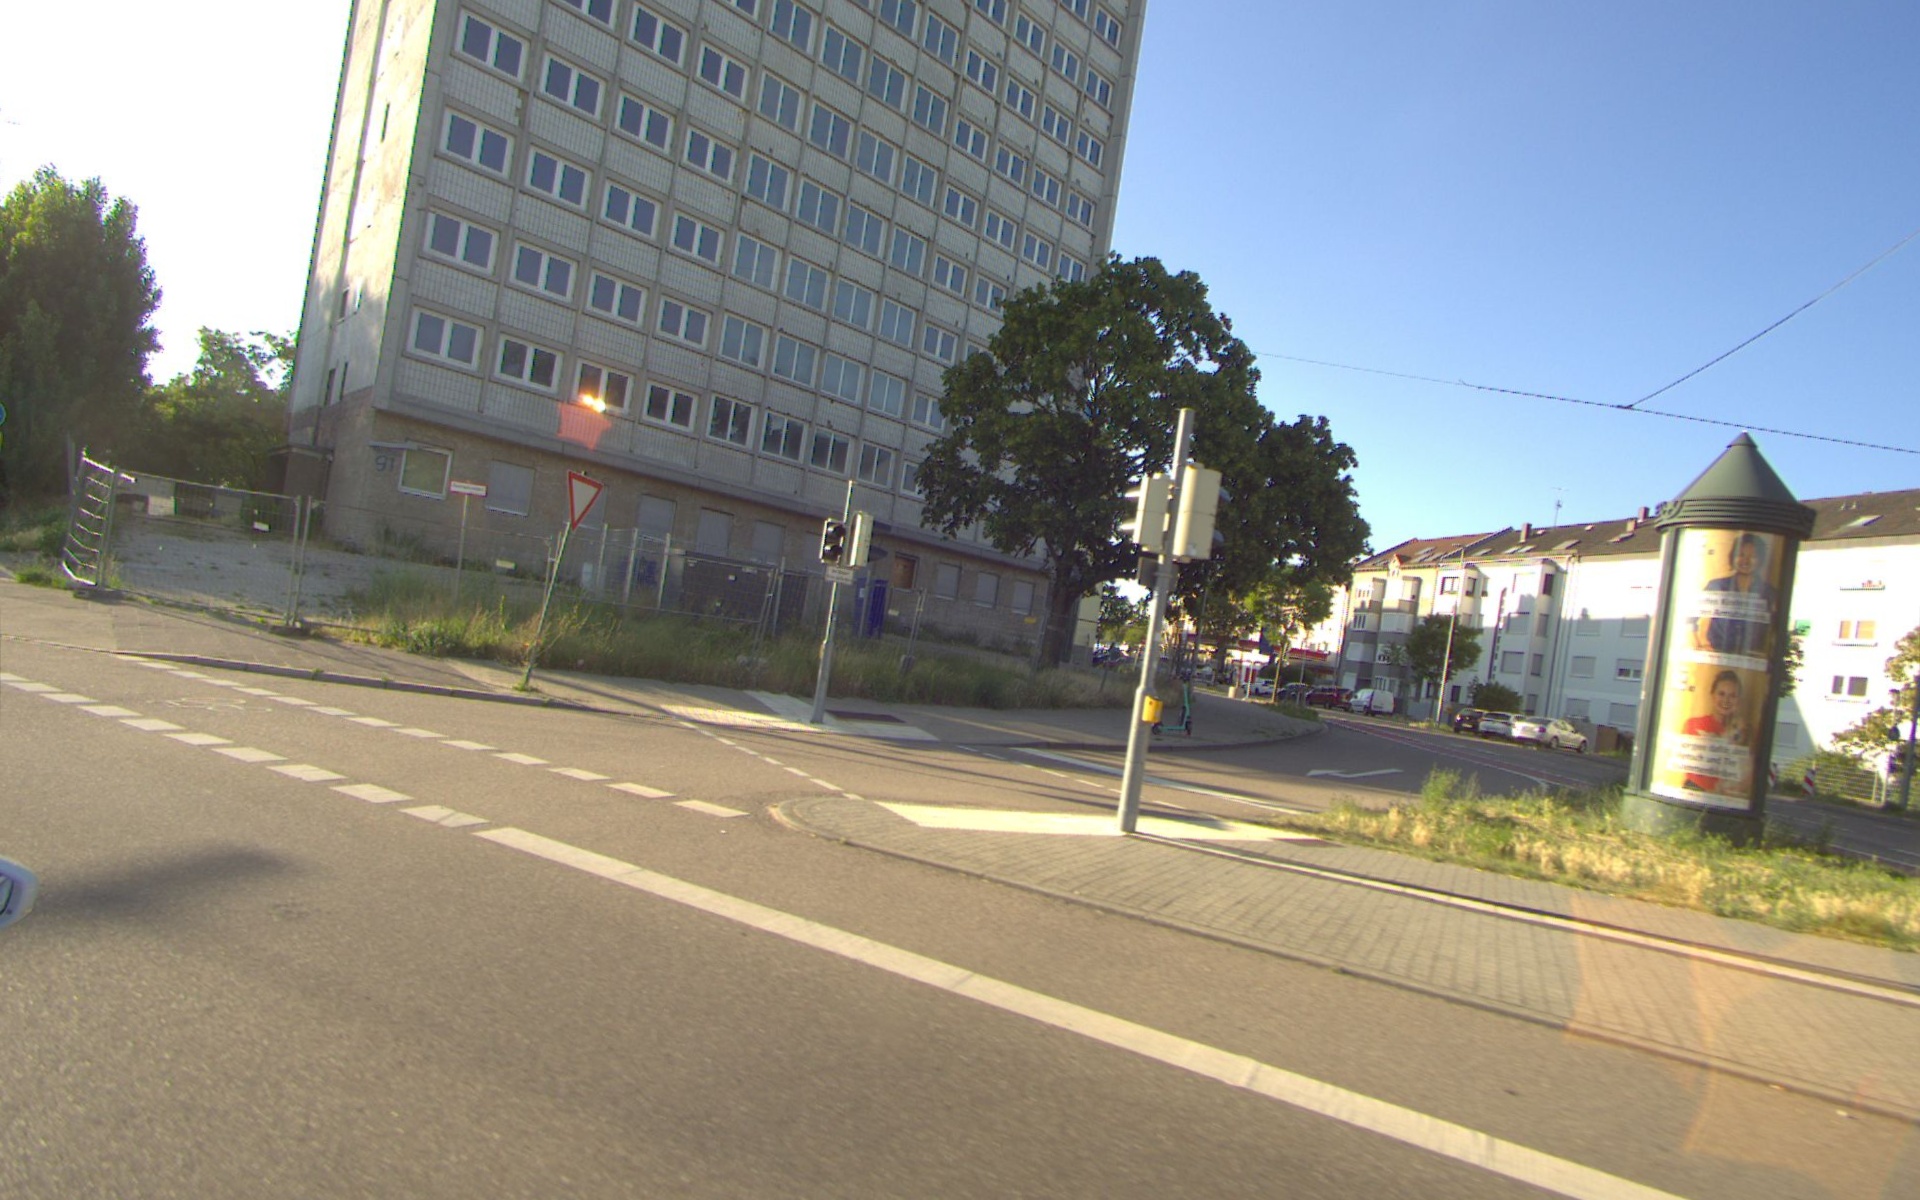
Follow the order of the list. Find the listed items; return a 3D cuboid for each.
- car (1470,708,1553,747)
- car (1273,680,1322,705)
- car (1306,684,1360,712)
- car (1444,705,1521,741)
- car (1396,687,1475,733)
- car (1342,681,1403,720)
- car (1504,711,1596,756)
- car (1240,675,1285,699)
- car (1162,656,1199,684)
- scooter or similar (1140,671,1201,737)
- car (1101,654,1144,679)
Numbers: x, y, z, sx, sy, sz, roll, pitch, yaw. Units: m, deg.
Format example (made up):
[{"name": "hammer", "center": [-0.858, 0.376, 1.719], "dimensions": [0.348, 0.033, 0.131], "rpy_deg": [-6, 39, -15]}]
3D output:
[{"name": "car", "center": [27.951, 6.454, 50.963], "dimensions": [3.962, 1.442, 1.887], "rpy_deg": [9, -2, -33]}, {"name": "car", "center": [26.198, 7.186, 78.293], "dimensions": [1.858, 1.400, 3.996], "rpy_deg": [10, -2, -8]}, {"name": "car", "center": [27.077, 7.104, 73.149], "dimensions": [1.888, 1.400, 3.972], "rpy_deg": [10, -2, -8]}, {"name": "car", "center": [28.265, 6.647, 54.372], "dimensions": [3.962, 1.399, 1.887], "rpy_deg": [9, -2, -33]}, {"name": "car", "center": [27.238, 6.307, 57.559], "dimensions": [4.185, 2.037, 1.983], "rpy_deg": [9, -2, -32]}, {"name": "car", "center": [27.509, 6.655, 67.195], "dimensions": [1.965, 2.037, 3.999], "rpy_deg": [8, -2, -4]}, {"name": "car", "center": [28.353, 6.402, 48.329], "dimensions": [4.179, 1.581, 1.767], "rpy_deg": [9, -2, -28]}, {"name": "car", "center": [25.140, 7.210, 83.847], "dimensions": [1.803, 1.400, 3.994], "rpy_deg": [10, -2, -10]}, {"name": "car", "center": [18.662, 5.889, 85.373], "dimensions": [1.831, 1.926, 4.000], "rpy_deg": [8, -1, -3]}, {"name": "scooter or similar", "center": [4.166, 2.064, 19.861], "dimensions": [1.292, 1.183, 0.323], "rpy_deg": [9, -1, -40]}, {"name": "car", "center": [12.989, 5.303, 80.514], "dimensions": [2.979, 1.554, 1.266], "rpy_deg": [8, -1, -6]}]
